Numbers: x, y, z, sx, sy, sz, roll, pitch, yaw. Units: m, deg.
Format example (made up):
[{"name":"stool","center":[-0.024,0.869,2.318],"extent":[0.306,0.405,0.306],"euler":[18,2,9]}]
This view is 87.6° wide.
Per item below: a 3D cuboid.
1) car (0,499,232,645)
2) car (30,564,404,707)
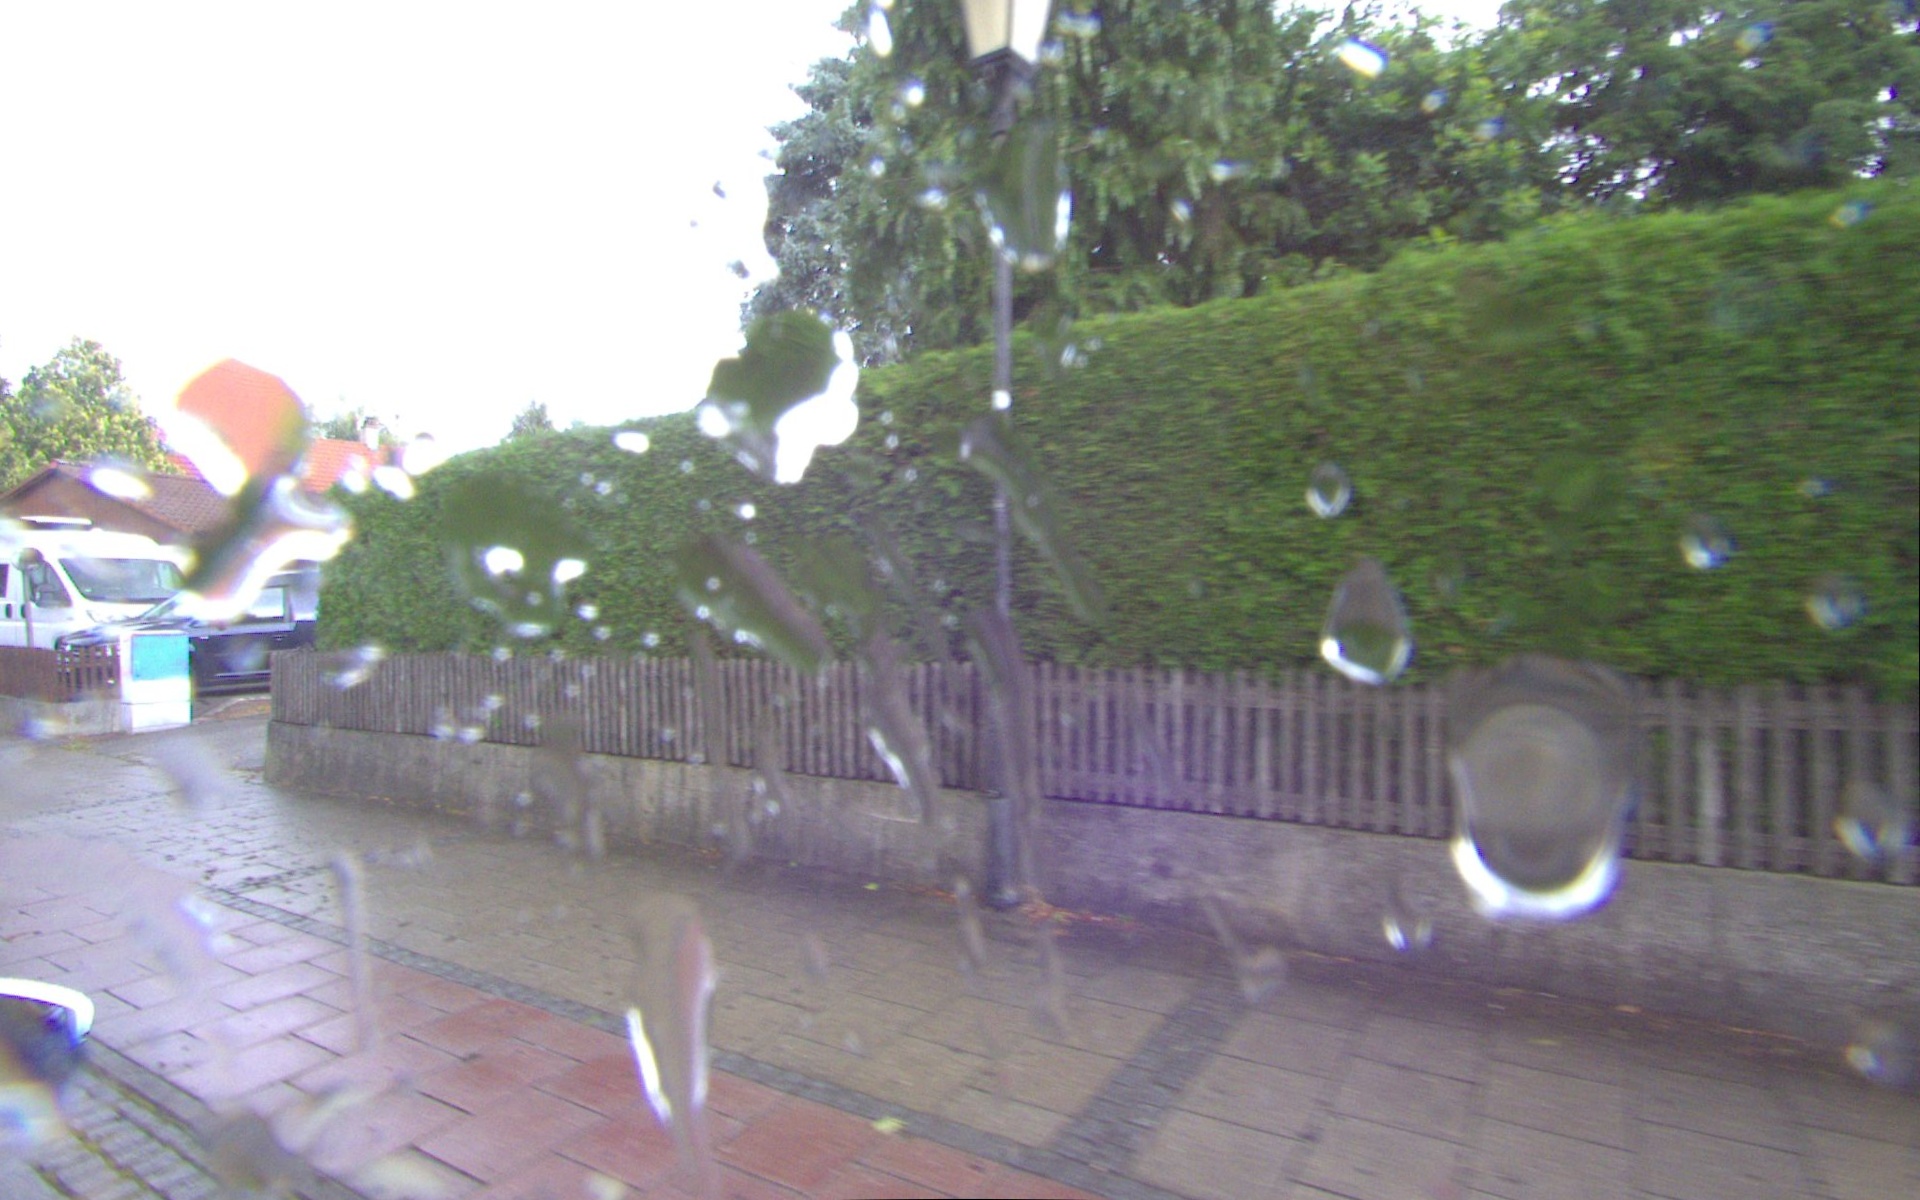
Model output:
[{"name":"car","center":[-15.047,-0.348,16.938],"extent":[4.866,2.201,1.997],"euler":[-1,-2,19]},{"name":"car","center":[-10.618,0.433,14.656],"extent":[1.668,1.775,4.089],"euler":[2,1,29]}]
